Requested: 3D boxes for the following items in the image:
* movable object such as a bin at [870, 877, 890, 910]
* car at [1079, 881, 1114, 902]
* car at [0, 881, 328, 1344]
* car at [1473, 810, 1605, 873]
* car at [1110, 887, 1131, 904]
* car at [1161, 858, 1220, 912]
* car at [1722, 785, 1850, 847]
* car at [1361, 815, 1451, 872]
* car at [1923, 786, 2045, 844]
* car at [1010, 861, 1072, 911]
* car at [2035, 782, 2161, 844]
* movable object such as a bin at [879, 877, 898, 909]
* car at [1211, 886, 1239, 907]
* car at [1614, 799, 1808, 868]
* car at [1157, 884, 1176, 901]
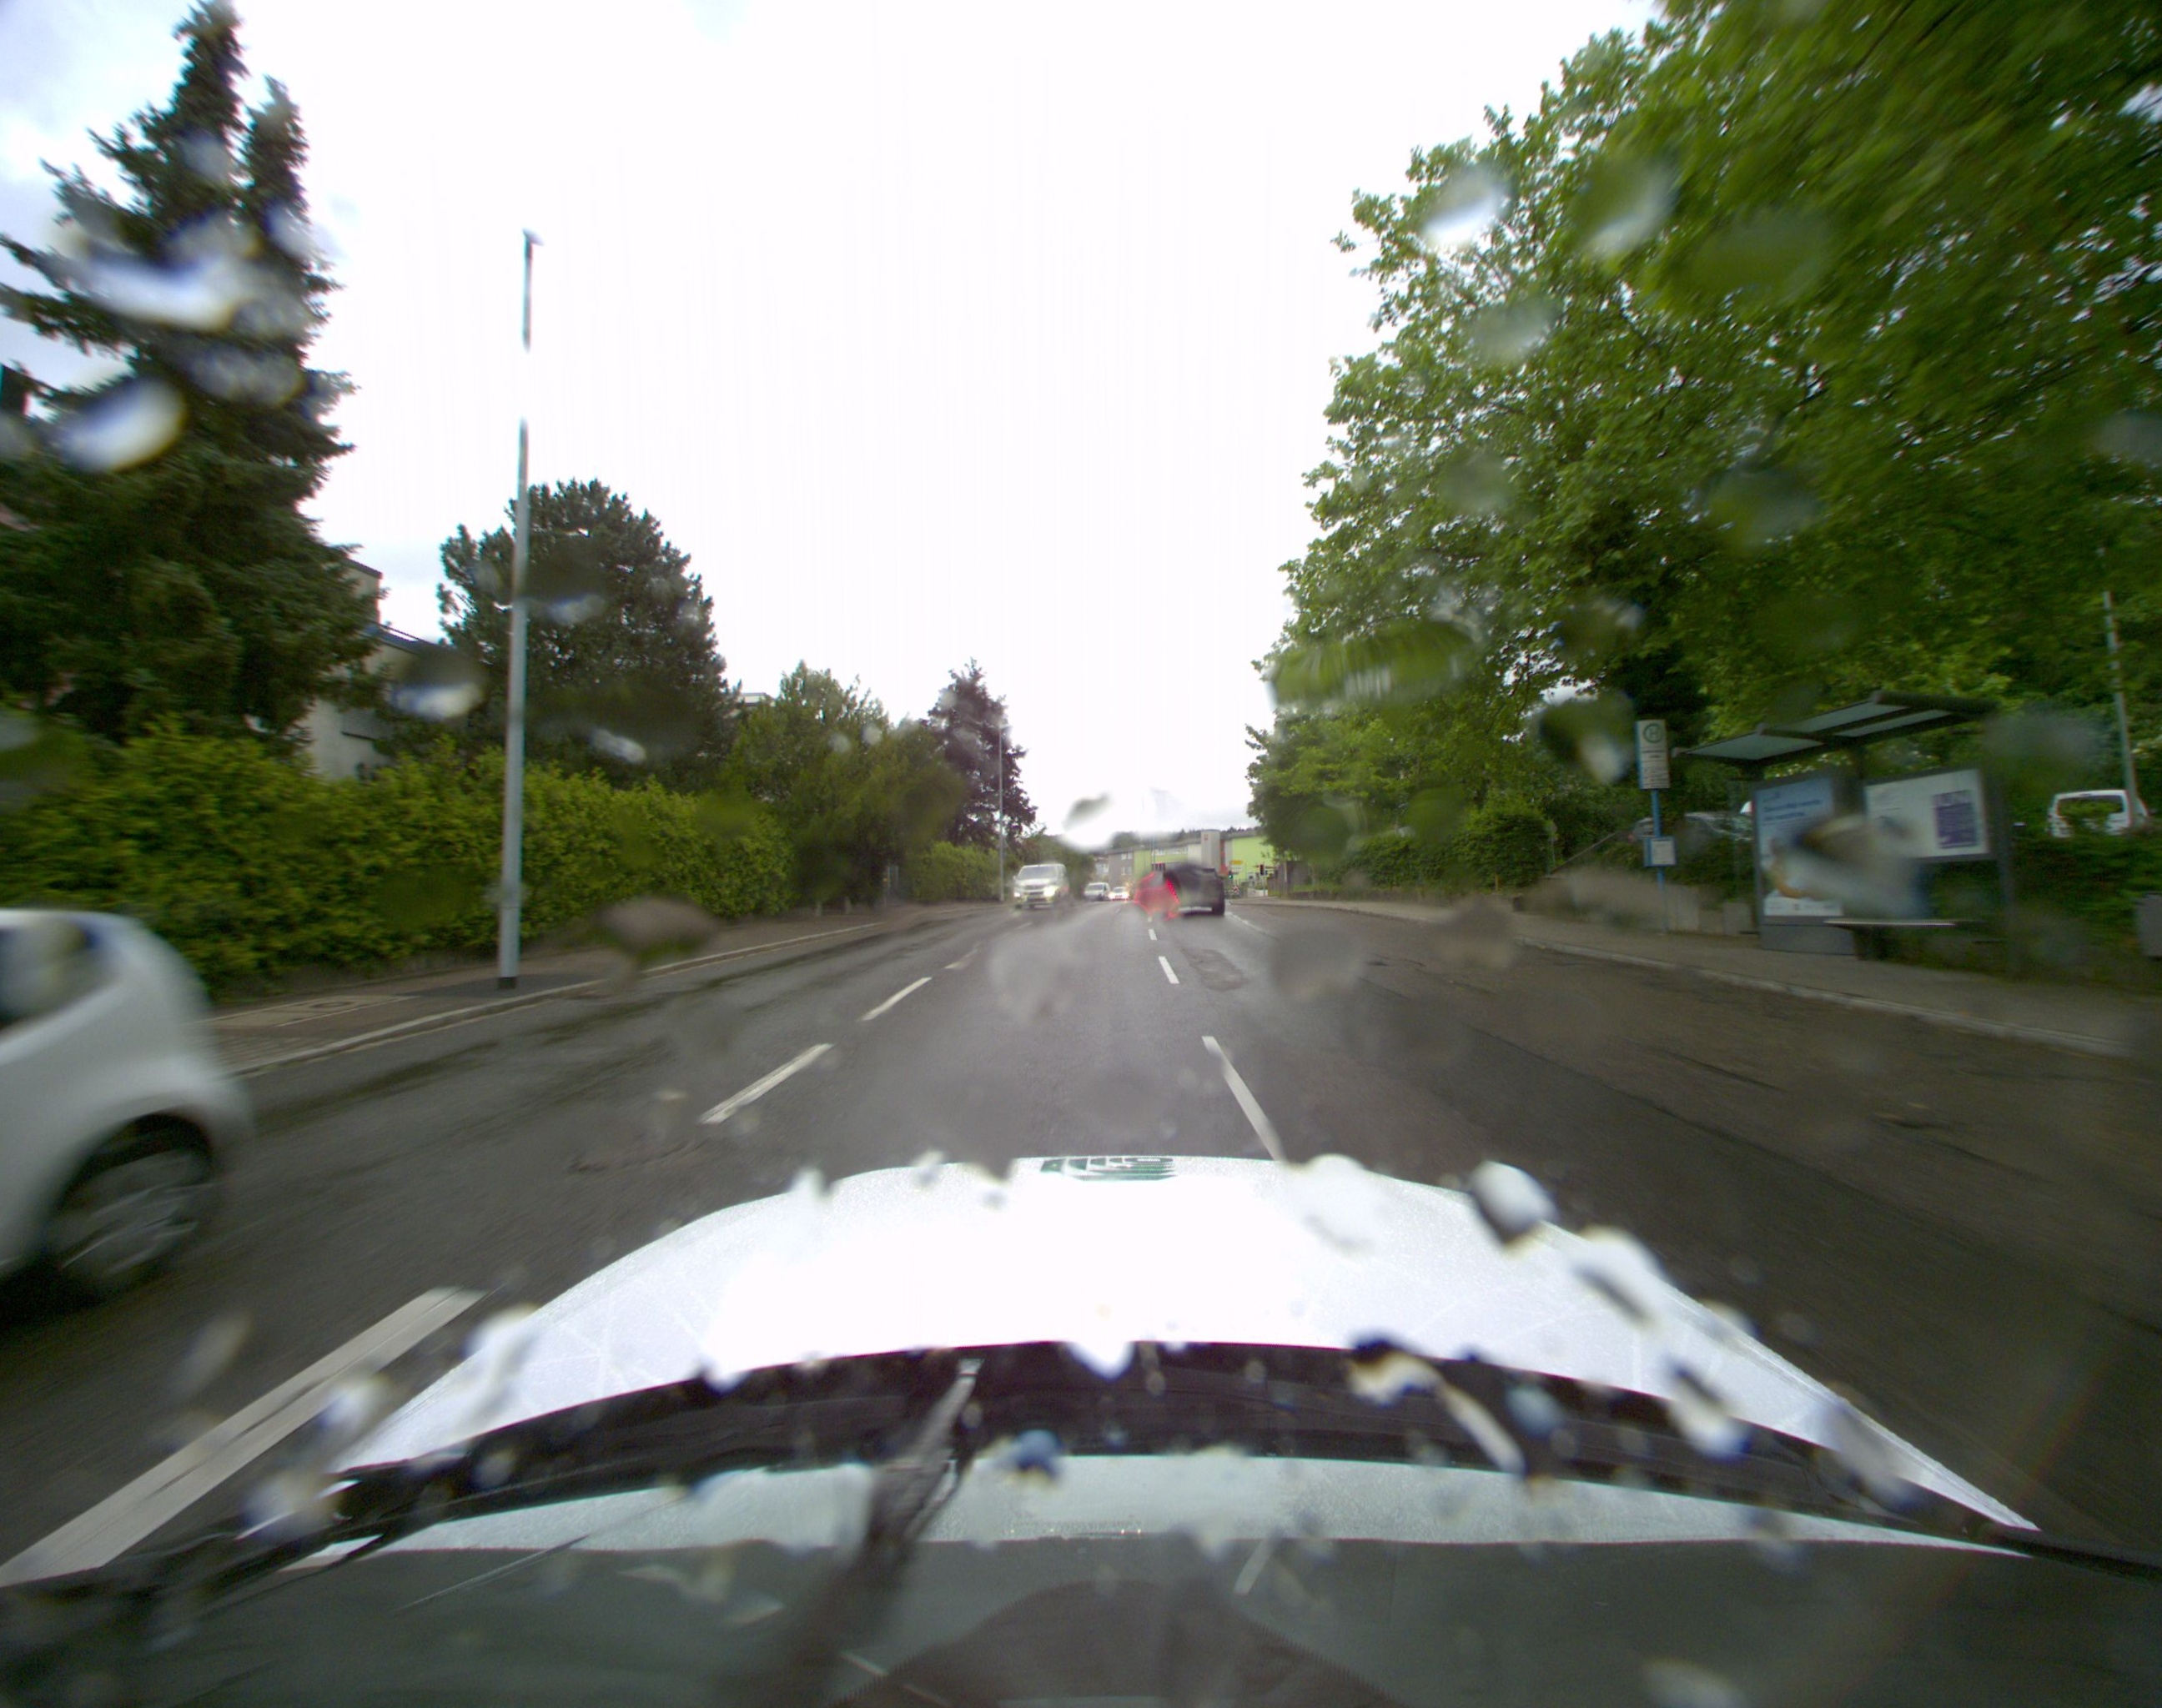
[{"bbox_3d":[-8.206,1.586,33.270,0.545,1.326,0.807,0,-1,4],"label":"movable object such as a bin"},{"bbox_3d":[1.350,3.184,69.327,1.686,1.708,3.997,1,-3,19],"label":"car"},{"bbox_3d":[-4.326,0.860,2.048,1.680,1.454,3.398,-1,0,0],"label":"car"},{"bbox_3d":[17.886,-0.475,32.139,2.041,2.284,5.008,0,1,-6],"label":"car"},{"bbox_3d":[3.936,4.163,81.274,1.626,1.580,4.064,-5,-3,7],"label":"car"},{"bbox_3d":[3.725,0.981,27.473,1.779,1.603,4.264,-1,0,9],"label":"car"},{"bbox_3d":[25.911,-1.328,29.889,5.219,2.013,1.980,1,1,-30],"label":"car"},{"bbox_3d":[13.452,-0.450,34.002,1.989,2.226,4.129,0,1,-3],"label":"car"},{"bbox_3d":[29.047,-1.185,26.167,4.192,1.665,1.786,1,1,-30],"label":"car"},{"bbox_3d":[-1.637,1.344,35.370,1.854,1.916,5.036,-3,-1,5],"label":"car"},{"bbox_3d":[30.526,-1.168,24.410,4.192,1.665,1.786,1,1,-30],"label":"car"},{"bbox_3d":[-8.161,1.638,34.561,0.545,1.326,0.807,0,-1,4],"label":"movable object such as a bin"},{"bbox_3d":[10.930,3.169,61.660,1.980,1.442,4.012,0,-1,11],"label":"car"},{"bbox_3d":[16.709,-0.486,21.901,1.816,1.583,4.167,-3,0,-3],"label":"car"},{"bbox_3d":[8.058,3.609,76.964,1.674,1.506,3.778,0,-2,5],"label":"car"}]
